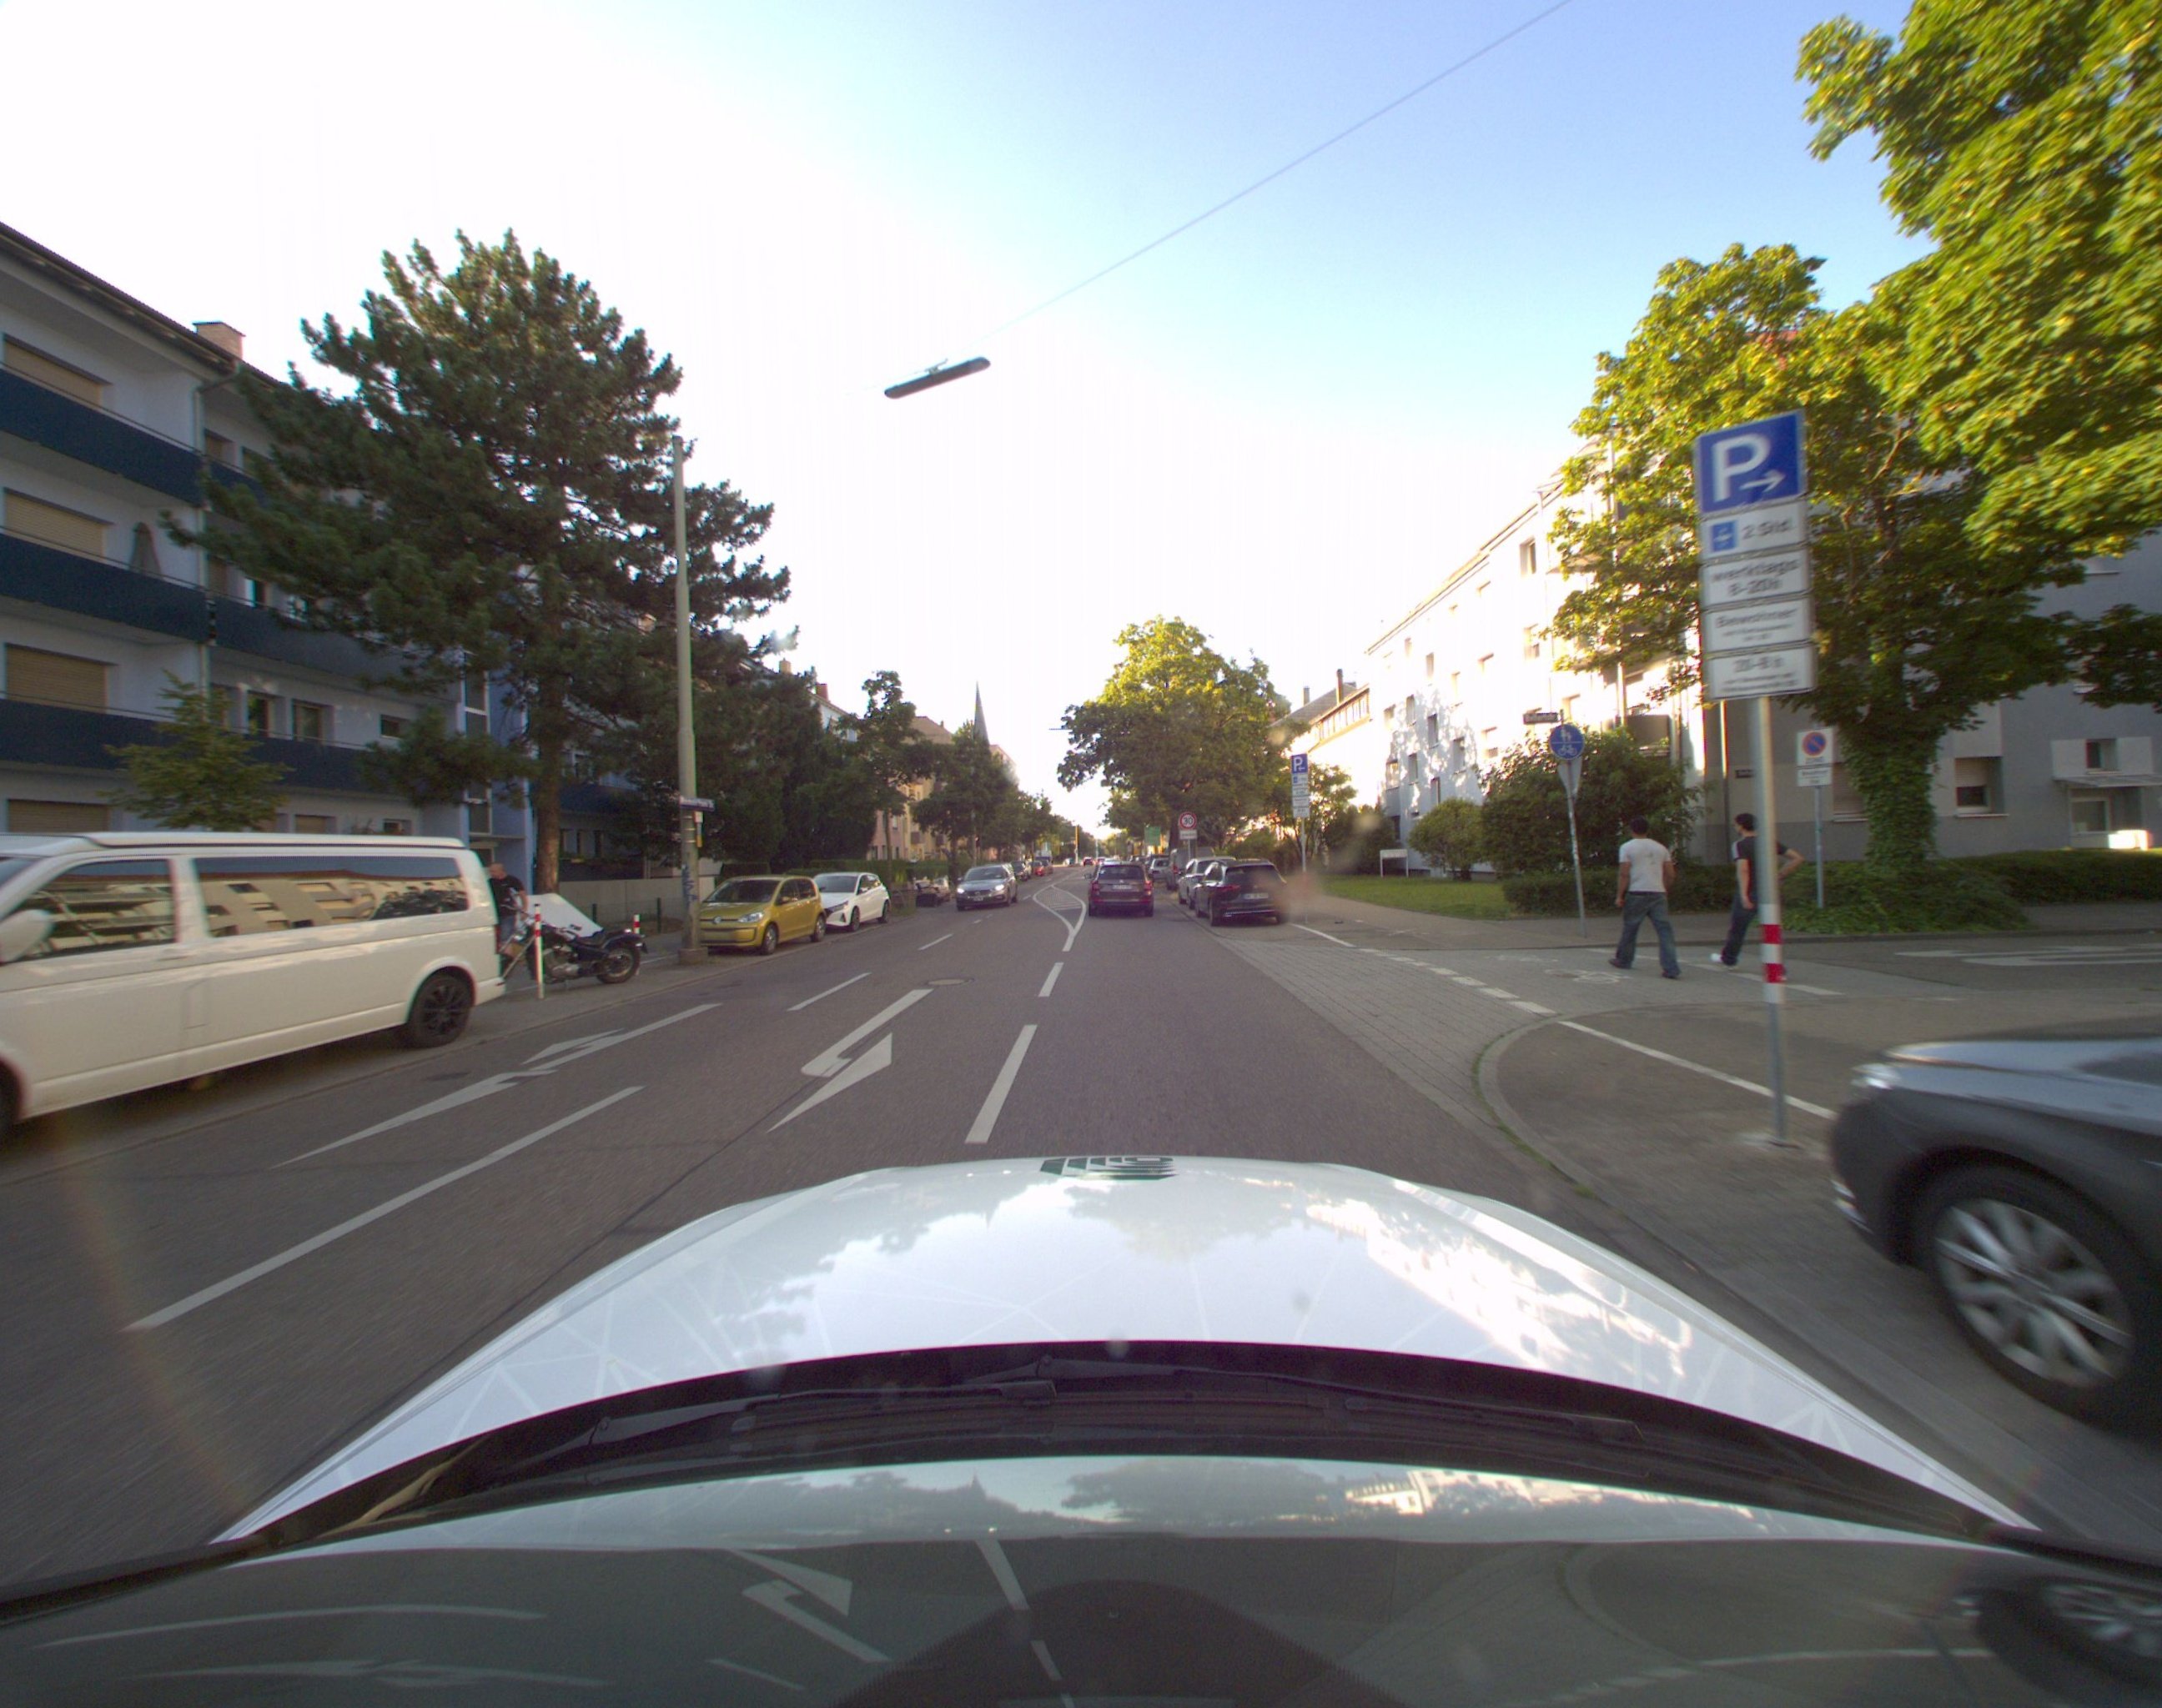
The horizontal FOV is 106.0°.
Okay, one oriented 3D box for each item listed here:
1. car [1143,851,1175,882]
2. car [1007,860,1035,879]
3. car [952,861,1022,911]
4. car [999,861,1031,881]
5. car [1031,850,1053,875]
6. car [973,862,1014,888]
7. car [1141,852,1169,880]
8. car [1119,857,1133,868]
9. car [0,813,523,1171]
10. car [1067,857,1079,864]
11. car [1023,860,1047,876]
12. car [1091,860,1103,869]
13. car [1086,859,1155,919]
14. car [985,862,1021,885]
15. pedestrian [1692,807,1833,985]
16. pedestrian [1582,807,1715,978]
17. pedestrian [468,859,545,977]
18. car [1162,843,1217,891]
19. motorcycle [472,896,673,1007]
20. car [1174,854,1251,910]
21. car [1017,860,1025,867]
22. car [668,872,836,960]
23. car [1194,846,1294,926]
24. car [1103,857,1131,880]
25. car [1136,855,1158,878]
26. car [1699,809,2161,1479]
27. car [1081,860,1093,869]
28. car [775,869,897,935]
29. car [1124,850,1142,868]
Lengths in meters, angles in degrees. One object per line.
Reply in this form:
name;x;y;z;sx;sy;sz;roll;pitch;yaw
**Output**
car;4.529;0.715;47.898;1.747;1.715;4.004;0;0;3
car;-4.945;1.263;67.809;1.773;1.480;3.975;0;0;4
car;-3.232;1.066;28.765;1.733;1.479;4.310;-5;0;1
car;-4.992;1.286;62.107;1.773;1.480;3.975;0;0;4
car;-4.336;0.933;90.850;1.984;2.781;5.505;0;0;1
car;-5.277;1.232;49.587;1.773;1.480;4.037;0;0;4
car;5.052;0.815;55.873;1.747;1.806;4.004;0;0;3
car;6.841;1.266;123.979;1.641;1.599;3.645;-2;0;-3
car;-7.038;0.804;6.161;1.862;2.031;5.302;-1;0;1
car;-1.901;1.579;194.526;1.652;1.599;3.572;-2;0;-23
car;-4.414;1.288;78.275;1.773;1.480;3.975;0;0;4
car;2.627;1.684;131.963;1.776;1.480;3.969;0;0;-1
car;1.120;0.892;22.566;1.747;1.492;4.004;0;0;3
car;-5.312;1.322;55.670;1.773;1.480;3.975;0;0;4
pedestrian;7.604;0.454;9.145;0.793;1.861;0.954;-3;-1;12
pedestrian;6.621;0.429;9.565;0.746;1.861;1.068;-3;-1;1
pedestrian;-8.985;0.982;12.763;0.659;1.770;0.695;-2;-1;1
car;4.617;0.530;35.315;1.908;1.860;5.638;-2;0;4
motorcycle;-6.853;1.264;11.164;0.653;1.204;2.345;-3;0;23
car;3.924;0.798;24.934;1.748;1.557;4.104;0;0;1
car;-16.041;2.535;218.525;1.991;1.750;3.992;-2;0;-6
car;-6.484;1.159;16.544;1.611;1.480;3.876;0;0;4
car;3.731;0.679;19.284;1.747;1.686;4.256;0;0;3
car;2.490;1.028;57.593;1.885;1.506;3.790;2;-1;1
car;5.394;0.983;67.183;1.747;1.806;4.004;0;0;3
car;3.394;0.649;1.136;1.749;1.557;4.251;-3;0;0
car;1.097;2.022;159.029;1.989;1.750;3.995;-2;0;-3
car;-6.318;1.187;21.495;1.773;1.494;3.975;0;0;4
car;5.352;0.511;84.039;1.747;1.806;4.002;0;0;2
